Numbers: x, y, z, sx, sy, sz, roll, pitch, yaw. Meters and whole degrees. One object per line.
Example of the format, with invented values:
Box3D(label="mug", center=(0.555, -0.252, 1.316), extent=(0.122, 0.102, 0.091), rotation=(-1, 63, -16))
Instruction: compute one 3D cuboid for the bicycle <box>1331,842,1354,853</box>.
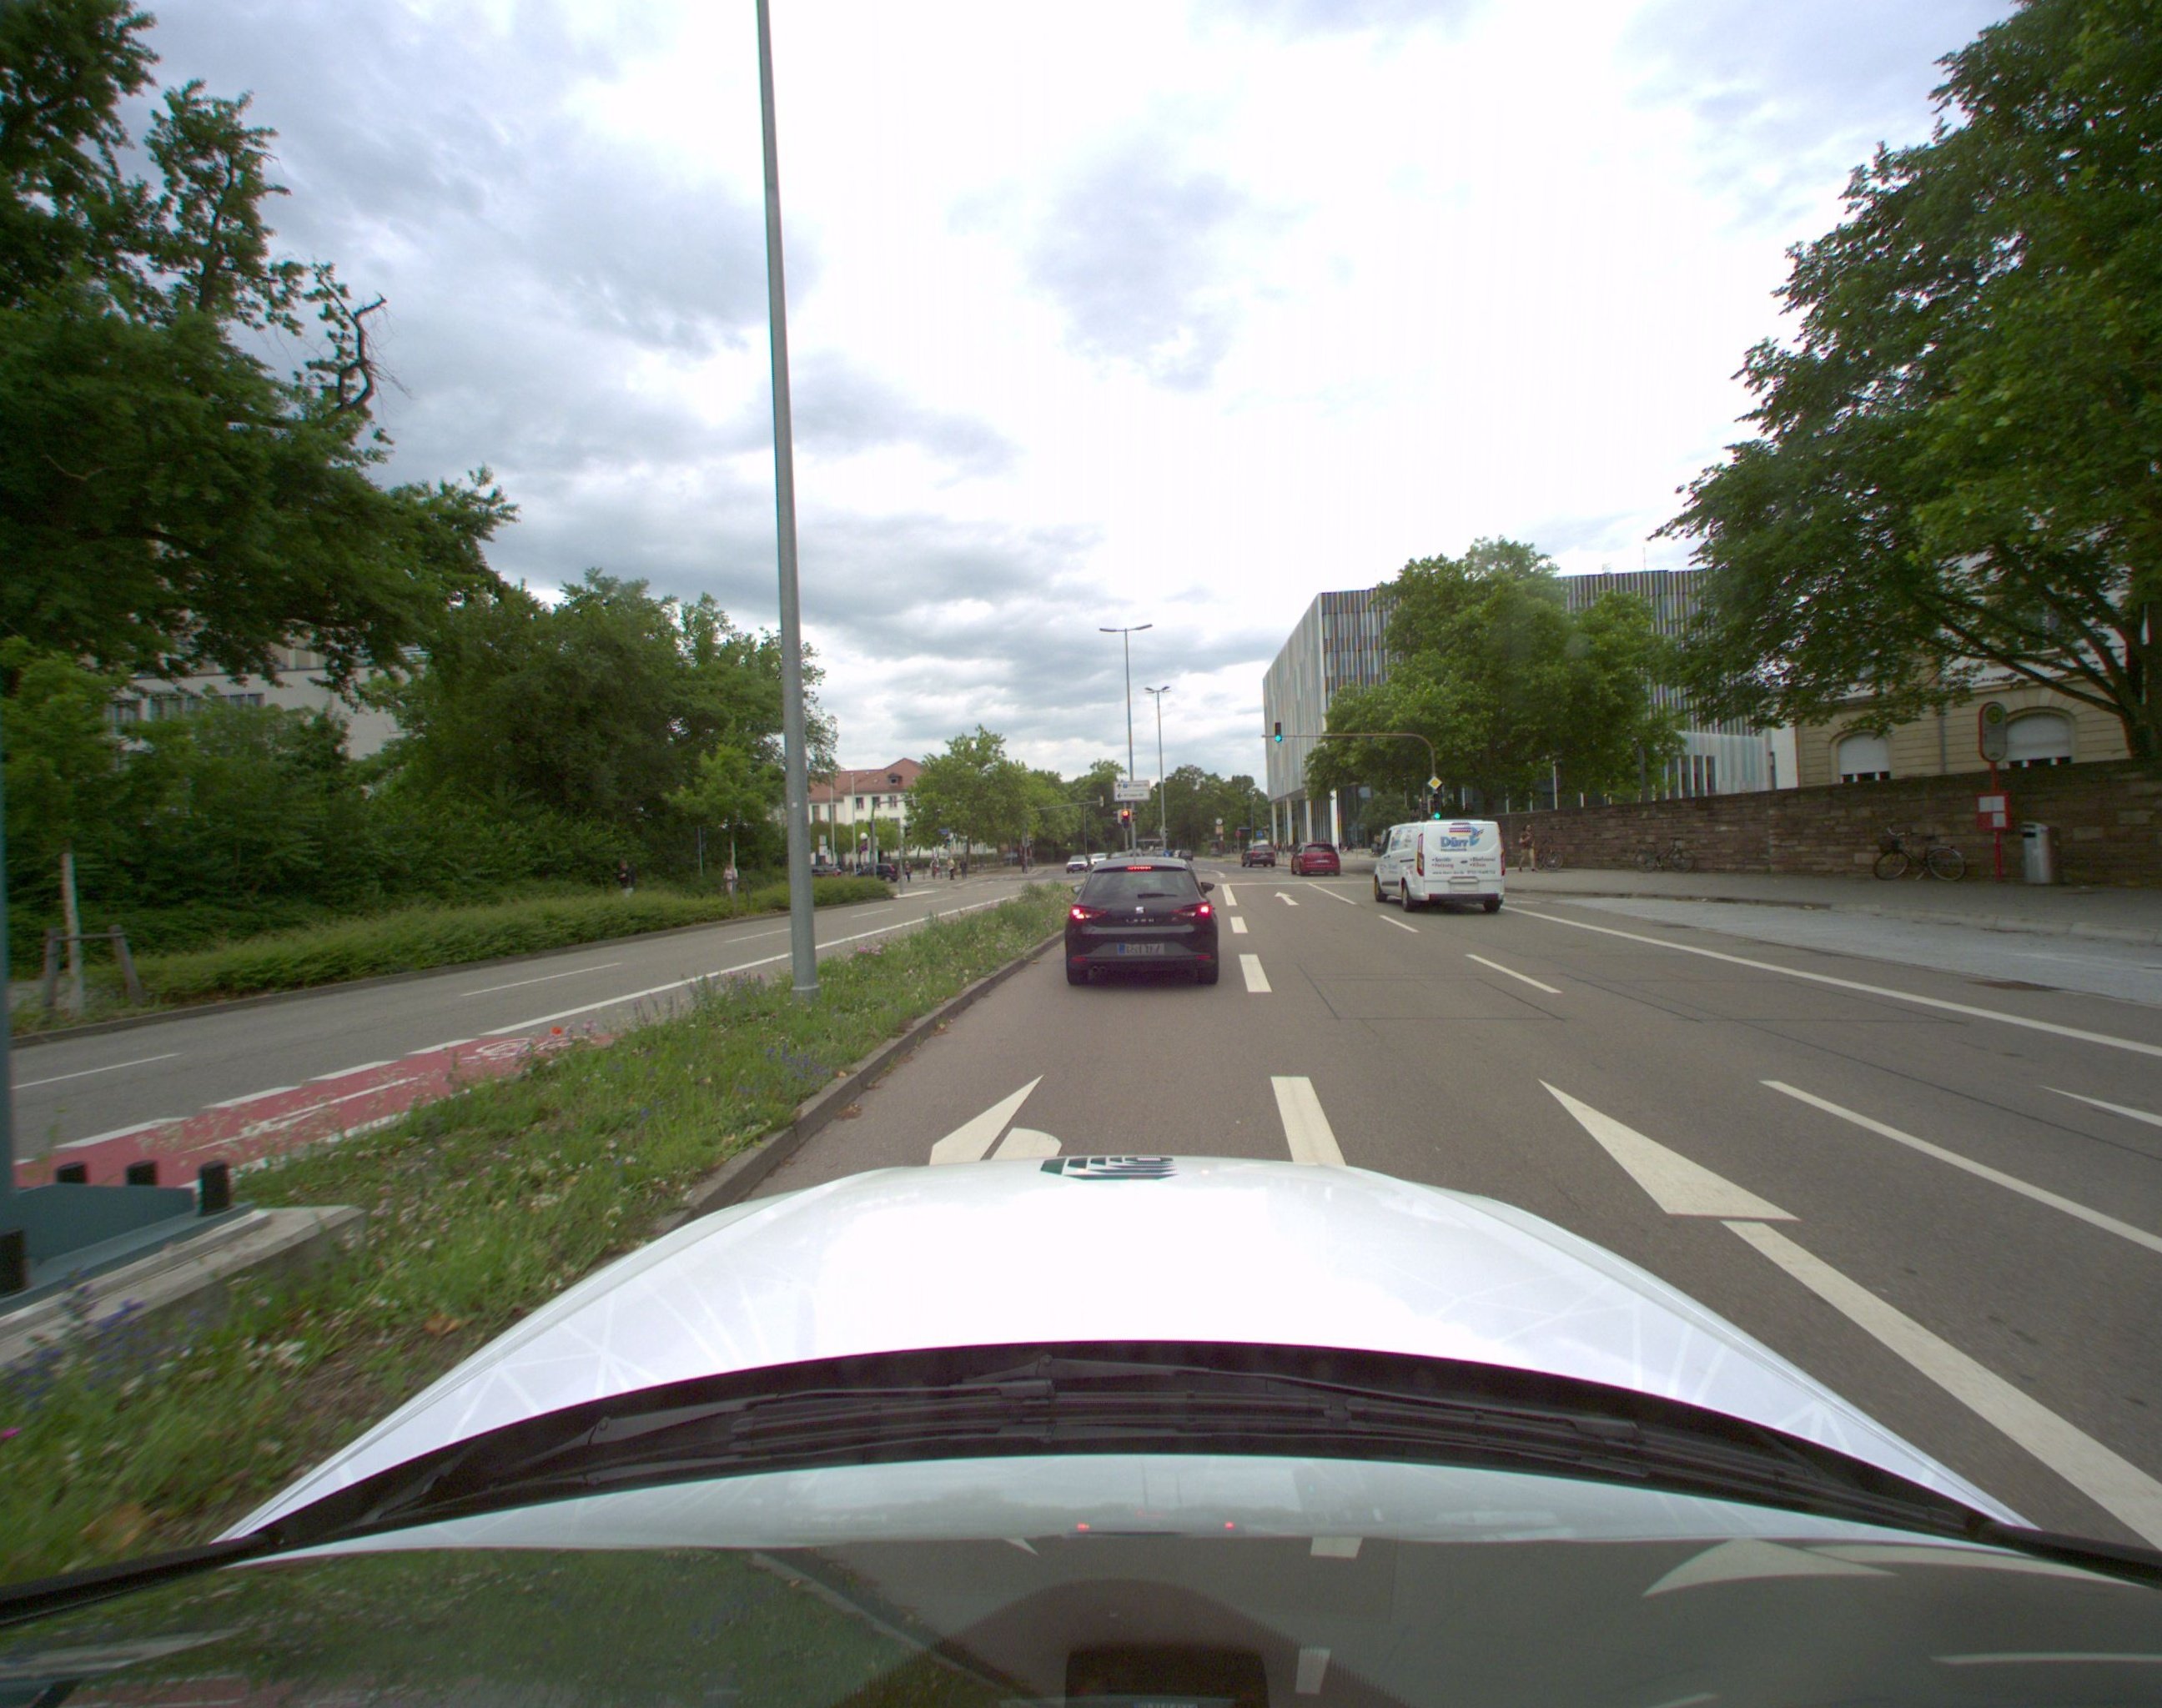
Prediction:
Box3D(label="bicycle", center=(24.818, -0.602, 77.238), extent=(1.888, 0.898, 0.694), rotation=(-4, 0, -12))

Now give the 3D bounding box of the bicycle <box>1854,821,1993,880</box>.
Box3D(label="bicycle", center=(17.965, -0.071, 17.441), extent=(0.847, 1.127, 1.919), rotation=(-4, 0, -6))

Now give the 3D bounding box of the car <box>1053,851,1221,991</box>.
Box3D(label="car", center=(0.854, 0.708, 10.438), extent=(1.743, 1.432, 3.778), rotation=(-1, 0, 8))

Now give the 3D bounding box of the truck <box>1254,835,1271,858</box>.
Box3D(label="truck", center=(18.642, -0.772, 83.664), extent=(1.310, 2.243, 3.410), rotation=(-4, 1, 9))

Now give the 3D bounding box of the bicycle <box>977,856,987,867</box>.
Box3D(label="bicycle", center=(-10.440, 0.818, 85.876), extent=(0.605, 1.060, 2.046), rotation=(-4, 1, 3))

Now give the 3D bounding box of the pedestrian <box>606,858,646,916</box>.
Box3D(label="pedestrian", center=(-14.128, 1.003, 25.301), extent=(0.616, 1.729, 0.820), rotation=(-4, 0, 8))

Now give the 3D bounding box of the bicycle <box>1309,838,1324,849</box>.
Box3D(label="bicycle", center=(28.496, -1.328, 98.514), extent=(1.781, 1.211, 0.565), rotation=(-4, 0, -25))

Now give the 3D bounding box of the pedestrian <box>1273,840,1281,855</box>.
Box3D(label="pedestrian", center=(20.642, -0.697, 85.734), extent=(0.683, 1.639, 0.634), rotation=(-1, 1, 8))

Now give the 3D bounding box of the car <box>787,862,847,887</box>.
Box3D(label="car", center=(-19.995, 1.532, 61.757), extent=(4.049, 1.452, 1.619), rotation=(-3, 6, -9))

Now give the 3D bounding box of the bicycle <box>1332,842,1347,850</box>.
Box3D(label="bicycle", center=(28.686, -0.909, 90.341), extent=(1.472, 0.748, 0.567), rotation=(-4, 0, 5))

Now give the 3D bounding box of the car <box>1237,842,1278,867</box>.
Box3D(label="car", center=(12.990, -0.004, 60.193), extent=(1.909, 1.664, 4.112), rotation=(-4, 1, -2))

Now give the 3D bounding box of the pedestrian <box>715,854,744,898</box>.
Box3D(label="pedestrian", center=(-13.621, 0.841, 31.572), extent=(0.696, 1.636, 0.673), rotation=(-4, 0, 8))

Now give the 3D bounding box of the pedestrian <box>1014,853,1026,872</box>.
Box3D(label="pedestrian", center=(-5.320, 0.734, 71.273), extent=(0.871, 1.586, 0.544), rotation=(-4, 0, 2))

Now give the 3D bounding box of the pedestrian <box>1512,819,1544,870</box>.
Box3D(label="pedestrian", center=(16.574, -0.368, 30.238), extent=(0.627, 1.821, 1.035), rotation=(-4, 0, 9))

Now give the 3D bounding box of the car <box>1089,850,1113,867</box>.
Box3D(label="car", center=(1.945, 0.433, 78.248), extent=(1.695, 1.431, 4.238), rotation=(-4, 1, 9))

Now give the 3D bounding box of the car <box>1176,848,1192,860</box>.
Box3D(label="car", center=(13.228, 0.026, 104.554), extent=(1.889, 1.354, 3.889), rotation=(-4, 1, 5))

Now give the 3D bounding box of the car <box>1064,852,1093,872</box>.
Box3D(label="car", center=(-0.143, 0.591, 64.005), extent=(1.598, 1.381, 3.818), rotation=(-4, 1, 9))

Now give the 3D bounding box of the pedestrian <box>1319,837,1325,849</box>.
Box3D(label="pedestrian", center=(26.543, -1.222, 89.670), extent=(0.468, 1.361, 0.447), rotation=(-4, 0, 19))

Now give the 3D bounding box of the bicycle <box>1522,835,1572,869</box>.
Box3D(label="bicycle", center=(17.523, -0.102, 30.669), extent=(0.799, 1.174, 1.956), rotation=(-5, 0, 4))

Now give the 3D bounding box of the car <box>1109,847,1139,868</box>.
Box3D(label="car", center=(3.503, 0.281, 65.365), extent=(1.753, 1.460, 4.805), rotation=(-4, -1, 10))

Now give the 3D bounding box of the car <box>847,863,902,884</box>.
Box3D(label="car", center=(-15.733, 1.472, 62.121), extent=(3.640, 1.223, 1.565), rotation=(-2, 7, 2))

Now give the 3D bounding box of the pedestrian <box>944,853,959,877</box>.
Box3D(label="pedestrian", center=(-9.808, 0.827, 61.482), extent=(0.844, 1.740, 0.823), rotation=(-2, -5, -26))

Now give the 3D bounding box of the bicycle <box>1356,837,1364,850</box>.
Box3D(label="bicycle", center=(29.063, -1.132, 84.907), extent=(0.521, 1.253, 1.676), rotation=(-4, 1, 27))

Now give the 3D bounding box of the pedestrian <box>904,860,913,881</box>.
Box3D(label="pedestrian", center=(-13.108, 1.275, 61.745), extent=(0.571, 1.526, 0.844), rotation=(-2, -4, -15))

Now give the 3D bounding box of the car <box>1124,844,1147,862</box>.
Box3D(label="car", center=(5.719, -0.105, 84.542), extent=(1.909, 1.664, 4.410), rotation=(-4, 0, 9))

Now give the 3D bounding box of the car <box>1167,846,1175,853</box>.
Box3D(label="car", center=(17.758, -0.944, 160.956), extent=(1.498, 1.193, 3.168), rotation=(-4, 1, 5))

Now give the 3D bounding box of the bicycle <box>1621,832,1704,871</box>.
Box3D(label="bicycle", center=(17.654, -0.068, 24.777), extent=(0.939, 1.073, 1.965), rotation=(-4, 0, -6))

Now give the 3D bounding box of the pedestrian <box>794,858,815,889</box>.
Box3D(label="pedestrian", center=(-16.128, 1.140, 47.541), extent=(0.947, 1.759, 0.866), rotation=(-1, -1, -35))

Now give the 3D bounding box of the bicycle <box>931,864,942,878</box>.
Box3D(label="bicycle", center=(-11.246, 1.351, 63.498), extent=(0.664, 1.062, 1.617), rotation=(-1, 0, -4))

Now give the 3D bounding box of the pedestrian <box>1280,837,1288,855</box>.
Box3D(label="pedestrian", center=(21.350, -0.838, 85.704), extent=(0.683, 1.780, 0.679), rotation=(-2, 1, 8))

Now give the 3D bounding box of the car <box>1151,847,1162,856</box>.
Box3D(label="car", center=(13.889, -0.462, 149.262), extent=(1.689, 1.503, 4.012), rotation=(-4, 1, 2))

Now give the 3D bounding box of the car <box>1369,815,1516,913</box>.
Box3D(label="car", center=(8.138, 0.177, 18.789), extent=(1.955, 1.972, 4.354), rotation=(-1, 1, 8))

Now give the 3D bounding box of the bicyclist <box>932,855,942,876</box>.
Box3D(label="bicyclist", center=(-11.252, 0.912, 63.596), extent=(0.665, 1.635, 0.960), rotation=(-1, -1, -4))

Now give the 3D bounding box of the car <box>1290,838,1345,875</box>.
Box3D(label="car", center=(11.162, 0.093, 38.665), extent=(1.939, 1.624, 3.757), rotation=(-1, 1, 7))

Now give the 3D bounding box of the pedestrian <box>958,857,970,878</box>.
Box3D(label="pedestrian", center=(-8.866, 1.005, 61.603), extent=(0.789, 1.558, 0.696), rotation=(-2, -3, -12))

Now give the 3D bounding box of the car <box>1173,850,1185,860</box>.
Box3D(label="car", center=(14.604, 0.176, 121.494), extent=(1.608, 1.354, 4.006), rotation=(-4, 1, 5))
